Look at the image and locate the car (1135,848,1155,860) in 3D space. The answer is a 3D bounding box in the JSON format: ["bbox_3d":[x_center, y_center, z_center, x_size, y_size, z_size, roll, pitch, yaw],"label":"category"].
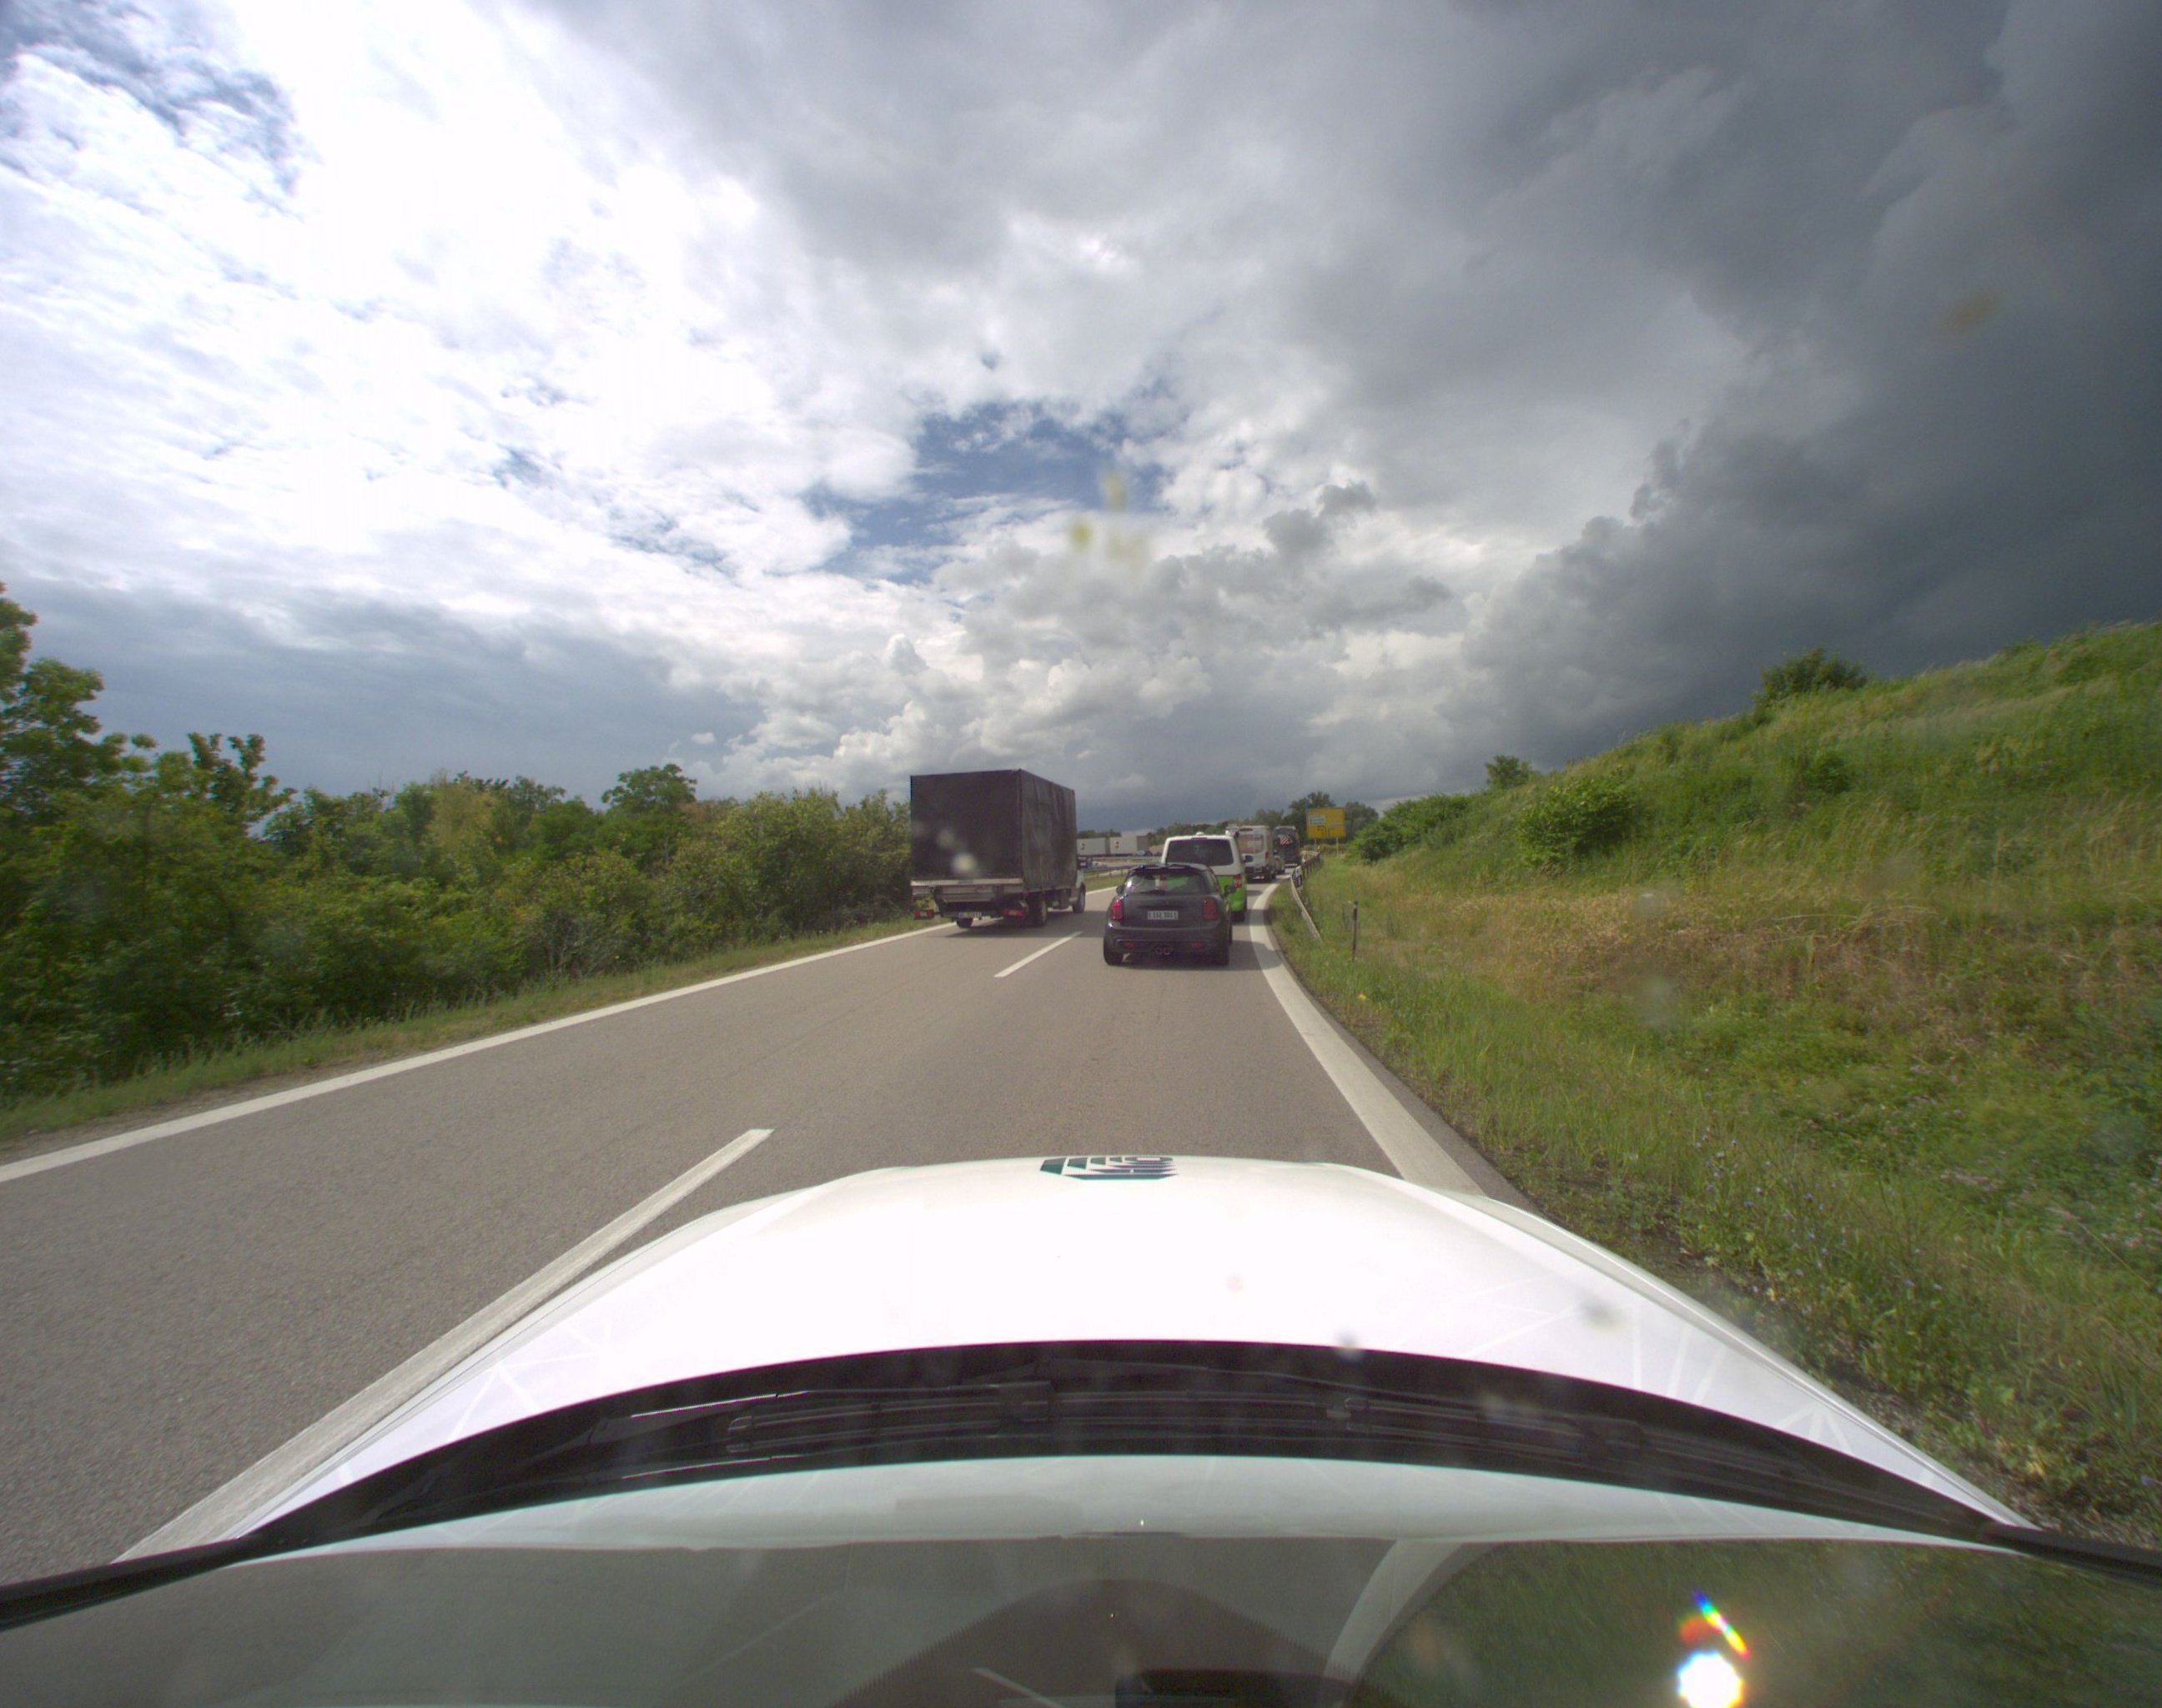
[{"bbox_3d":[10.183,0.000,129.551,1.818,1.756,3.973,0,-1,-20],"label":"car"}]

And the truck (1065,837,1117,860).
[{"bbox_3d":[1.687,-0.921,144.499,9.902,3.976,2.863,-1,-1,42],"label":"truck"}]

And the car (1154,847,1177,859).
[{"bbox_3d":[13.614,-0.098,131.184,1.927,1.838,4.288,0,-1,-20],"label":"car"}]

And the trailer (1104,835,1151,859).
[{"bbox_3d":[7.830,-1.128,137.729,3.059,3.898,8.676,0,-1,-36],"label":"trailer"}]

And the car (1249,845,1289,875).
[{"bbox_3d":[10.664,0.348,46.100,1.978,1.642,3.945,-1,-1,16],"label":"car"}]

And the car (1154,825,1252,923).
[{"bbox_3d":[2.992,0.450,19.246,1.897,2.045,4.196,-1,-1,13],"label":"car"}]

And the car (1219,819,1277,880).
[{"bbox_3d":[7.932,-0.148,38.275,2.195,2.622,5.557,-1,-1,16],"label":"car"}]

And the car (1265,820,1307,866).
[{"bbox_3d":[14.775,-0.695,58.373,2.292,3.069,6.693,-1,-1,19],"label":"car"}]

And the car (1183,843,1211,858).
[{"bbox_3d":[17.465,-0.516,122.815,2.295,2.260,5.076,0,-1,-18],"label":"car"}]

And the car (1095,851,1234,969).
[{"bbox_3d":[1.440,0.742,12.606,1.788,1.546,3.749,-1,0,11],"label":"car"}]

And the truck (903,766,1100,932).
[{"bbox_3d":[-1.488,-0.040,19.503,2.543,3.168,7.492,-1,-1,12],"label":"truck"}]
